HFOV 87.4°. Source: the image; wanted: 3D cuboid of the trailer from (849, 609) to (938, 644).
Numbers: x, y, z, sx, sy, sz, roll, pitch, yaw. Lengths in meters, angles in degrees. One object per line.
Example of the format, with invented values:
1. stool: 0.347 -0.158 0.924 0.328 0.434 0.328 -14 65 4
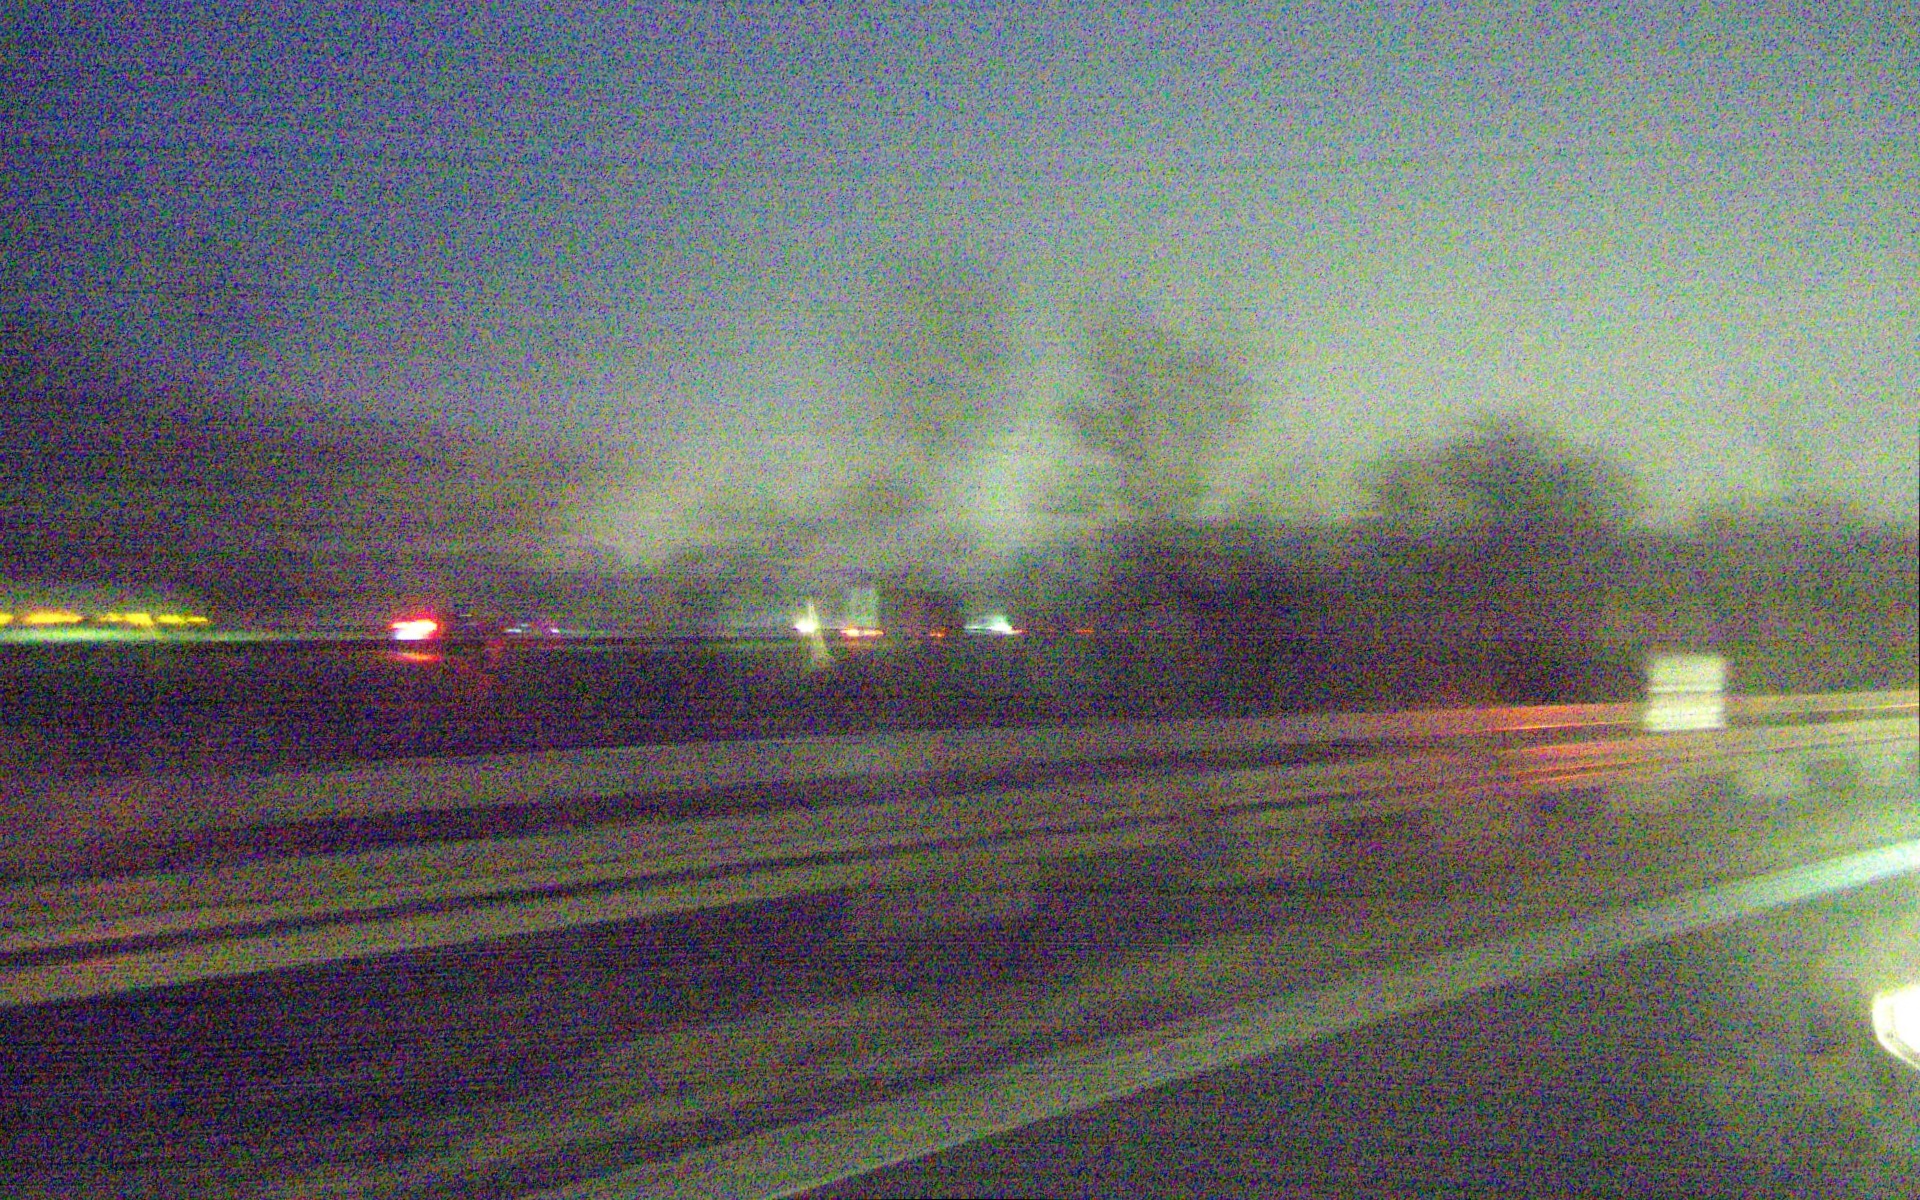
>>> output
1. trailer: -4.826 1.939 75.279 1.963 2.313 9.648 4 1 26

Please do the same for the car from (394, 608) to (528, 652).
1. car: -20.691 1.248 41.893 1.901 1.636 4.851 2 -1 26
